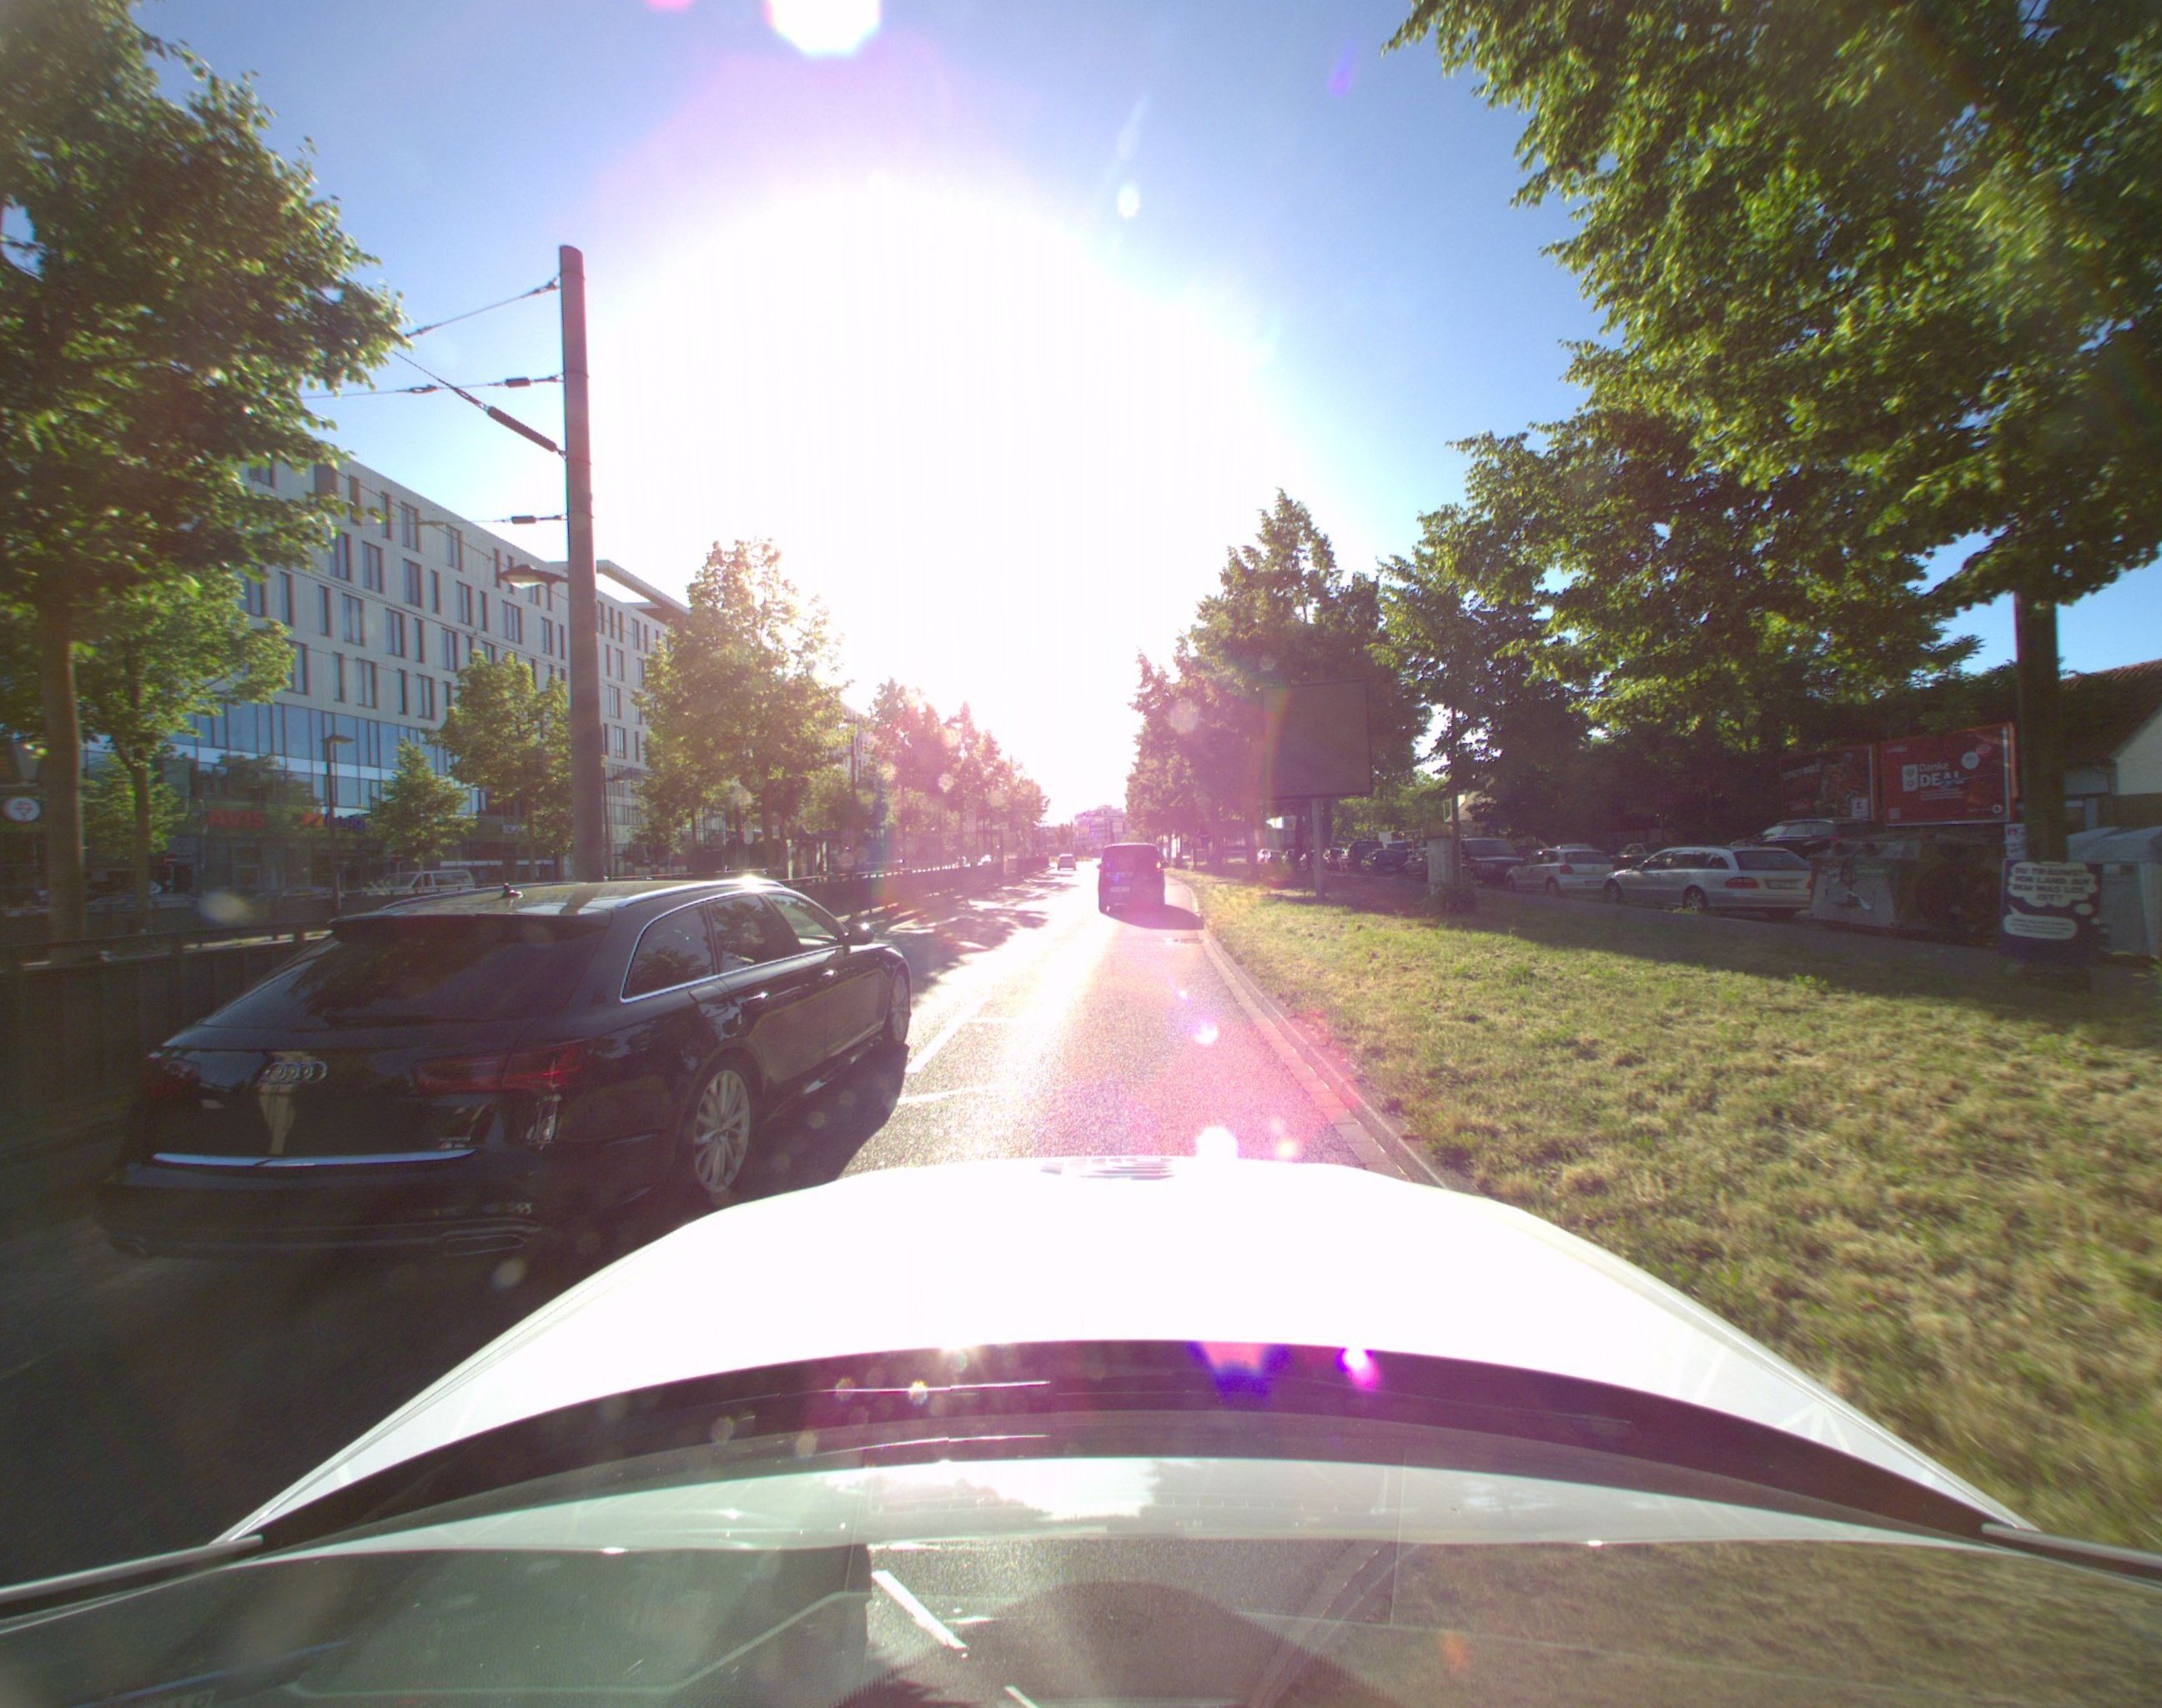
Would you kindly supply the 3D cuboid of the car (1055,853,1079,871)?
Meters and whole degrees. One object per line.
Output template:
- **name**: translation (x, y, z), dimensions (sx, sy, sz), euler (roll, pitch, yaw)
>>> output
- **car**: translation (-1.263, 0.768, 75.284), dimensions (1.986, 1.618, 4.001), euler (0, -1, 2)

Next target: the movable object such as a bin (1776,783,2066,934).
- **movable object such as a bin**: translation (12.120, 0.068, 11.949), dimensions (2.071, 2.014, 2.139), euler (0, -1, 5)

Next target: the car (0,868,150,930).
- **car**: translation (-30.591, 1.252, 23.504), dimensions (1.985, 1.672, 4.613), euler (0, -1, 2)

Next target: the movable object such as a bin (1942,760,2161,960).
- **movable object such as a bin**: translation (11.872, 0.069, 9.188), dimensions (2.071, 2.014, 2.139), euler (0, -1, 5)

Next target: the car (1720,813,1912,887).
- **car**: translation (22.787, -0.100, 25.568), dimensions (1.863, 2.002, 4.694), euler (-3, -1, 3)

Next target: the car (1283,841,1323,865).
- **car**: translation (16.772, -0.053, 61.719), dimensions (1.865, 1.684, 4.000), euler (-2, -1, 0)

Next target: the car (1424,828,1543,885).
- **car**: translation (13.900, 0.110, 28.499), dimensions (1.864, 1.820, 4.894), euler (0, -1, 1)

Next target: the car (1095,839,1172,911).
- **car**: translation (1.378, 0.554, 22.767), dimensions (1.803, 1.838, 3.997), euler (0, -1, -1)

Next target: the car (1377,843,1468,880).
- **car**: translation (14.175, 0.299, 34.112), dimensions (1.864, 1.434, 4.903), euler (0, -1, 1)

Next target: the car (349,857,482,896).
- **car**: translation (-30.448, 0.990, 37.489), dimensions (1.985, 1.714, 4.855), euler (0, -1, 2)

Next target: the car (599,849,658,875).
- **car**: translation (-35.903, 0.616, 64.747), dimensions (1.985, 2.014, 4.566), euler (0, -1, 2)

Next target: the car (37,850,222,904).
- **car**: translation (-38.318, 0.888, 33.021), dimensions (1.985, 2.014, 4.566), euler (0, -1, 2)

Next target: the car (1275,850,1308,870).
- **car**: translation (18.449, 0.530, 71.521), dimensions (1.865, 1.684, 4.000), euler (0, -1, 0)

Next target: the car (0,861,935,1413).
- **car**: translation (-2.450, 0.818, 4.859), dimensions (1.944, 1.480, 5.089), euler (0, 0, 3)

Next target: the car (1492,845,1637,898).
- **car**: translation (13.630, 0.467, 23.263), dimensions (1.864, 1.389, 4.001), euler (0, -1, 1)

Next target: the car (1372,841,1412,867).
- **car**: translation (26.479, 0.003, 69.399), dimensions (1.985, 2.014, 4.003), euler (-3, -1, 3)

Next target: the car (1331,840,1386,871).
- **car**: translation (15.710, 0.104, 46.285), dimensions (1.864, 1.684, 4.001), euler (0, -1, 1)

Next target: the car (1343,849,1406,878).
- **car**: translation (14.779, 0.474, 41.197), dimensions (1.864, 1.367, 4.001), euler (0, -1, 1)

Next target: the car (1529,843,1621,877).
- **car**: translation (24.488, 0.303, 40.592), dimensions (1.863, 1.483, 4.694), euler (-3, -1, 3)

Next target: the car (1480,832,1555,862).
- **car**: translation (24.587, -0.365, 46.055), dimensions (1.863, 1.546, 4.694), euler (-3, -1, 3)

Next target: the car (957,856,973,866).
- **car**: translation (-21.872, 1.360, 153.501), dimensions (1.984, 1.765, 4.006), euler (0, -1, 6)

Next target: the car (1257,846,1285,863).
- **car**: translation (18.735, 0.058, 80.625), dimensions (1.865, 1.684, 4.000), euler (0, -1, 0)

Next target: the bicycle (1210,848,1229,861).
- **bicycle**: translation (13.316, 0.040, 78.328), dimensions (1.771, 1.268, 0.479), euler (0, -1, 2)

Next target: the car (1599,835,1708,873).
- **car**: translation (23.663, 0.033, 33.869), dimensions (1.723, 1.371, 4.320), euler (-4, -1, 6)

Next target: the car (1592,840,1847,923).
- **car**: translation (13.370, 0.524, 17.572), dimensions (1.862, 1.524, 5.062), euler (0, -1, 5)

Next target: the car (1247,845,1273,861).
- **car**: translation (18.707, -0.064, 85.220), dimensions (1.865, 1.684, 3.999), euler (0, -1, 0)

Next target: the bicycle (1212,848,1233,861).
- **bicycle**: translation (13.457, 0.039, 77.545), dimensions (1.910, 1.268, 0.479), euler (-1, 0, 2)

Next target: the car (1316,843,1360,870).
- **car**: translation (16.407, 0.189, 52.215), dimensions (1.862, 1.684, 4.006), euler (0, -1, 5)
